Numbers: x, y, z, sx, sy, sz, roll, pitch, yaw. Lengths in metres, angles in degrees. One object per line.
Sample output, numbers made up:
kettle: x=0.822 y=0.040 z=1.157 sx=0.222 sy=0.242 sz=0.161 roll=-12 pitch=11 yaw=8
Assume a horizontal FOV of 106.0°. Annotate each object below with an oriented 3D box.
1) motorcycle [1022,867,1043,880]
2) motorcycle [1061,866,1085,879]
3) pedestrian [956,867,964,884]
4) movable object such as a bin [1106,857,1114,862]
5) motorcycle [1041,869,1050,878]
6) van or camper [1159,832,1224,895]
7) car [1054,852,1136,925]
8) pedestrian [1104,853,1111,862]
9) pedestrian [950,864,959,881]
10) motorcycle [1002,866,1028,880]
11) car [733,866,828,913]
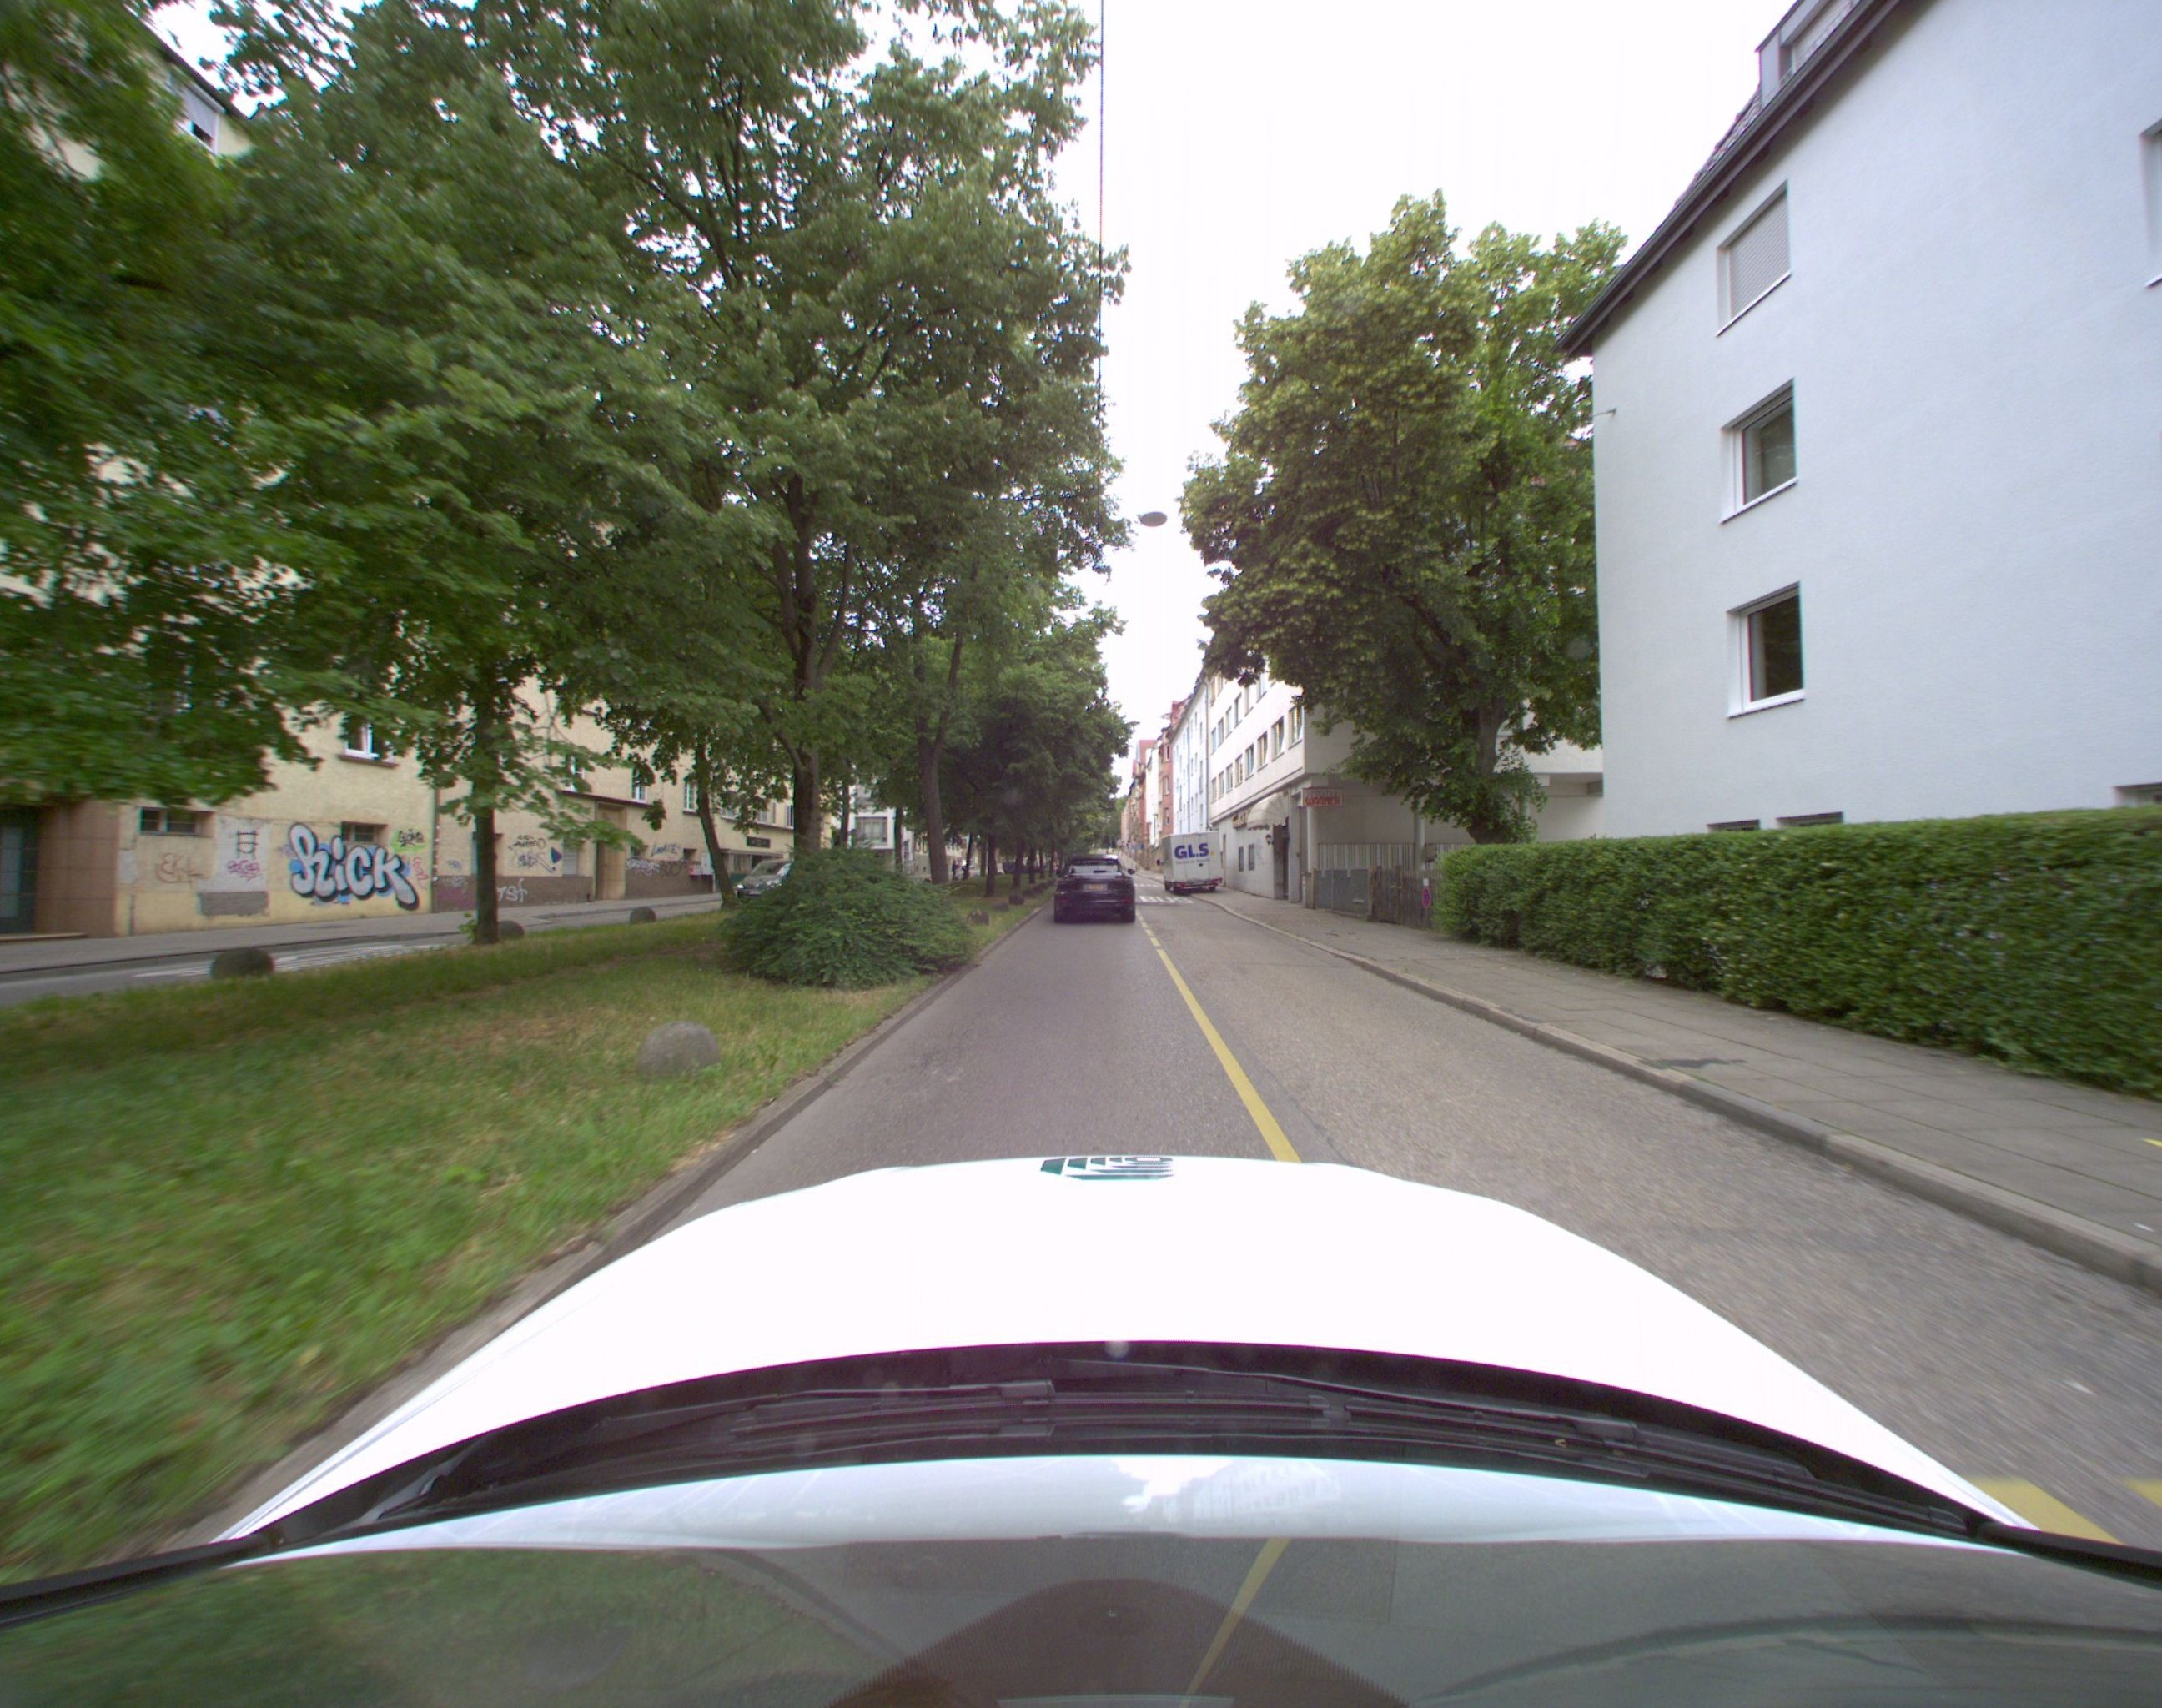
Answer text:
motorcycle: x=-4.804 y=1.900 z=80.881 sx=2.018 sy=1.235 sz=0.898 roll=-1 pitch=-1 yaw=6
motorcycle: x=-0.808 y=1.808 z=80.047 sx=2.348 sy=1.235 sz=1.033 roll=0 pitch=0 yaw=0
pedestrian: x=-11.905 y=2.130 z=79.885 sx=0.660 sy=1.616 sz=0.580 roll=0 pitch=-1 yaw=3
movable object such as a bin: x=6.803 y=1.257 z=190.787 sx=1.241 sy=1.274 sz=1.834 roll=0 pitch=-1 yaw=-20
motorcycle: x=-4.531 y=2.464 z=104.586 sx=0.897 sy=1.107 sz=2.252 roll=-1 pitch=-3 yaw=2
van or camper: x=5.262 y=0.500 z=39.888 sx=2.470 sy=2.803 sz=7.241 roll=0 pitch=-1 yaw=2
car: x=0.334 y=0.836 z=20.934 sx=1.897 sy=1.666 sz=4.134 roll=0 pitch=-1 yaw=0
pedestrian: x=6.268 y=0.892 z=192.119 sx=1.303 sy=2.014 sz=1.015 roll=0 pitch=-1 yaw=-15
pedestrian: x=-12.213 y=1.794 z=78.550 sx=0.631 sy=1.613 sz=0.765 roll=1 pitch=-1 yaw=4
motorcycle: x=-6.273 y=1.775 z=77.460 sx=2.374 sy=1.317 sz=1.045 roll=0 pitch=-1 yaw=0
car: x=-11.353 y=1.308 z=31.127 sx=1.942 sy=1.628 sz=4.365 roll=-1 pitch=-1 yaw=1
